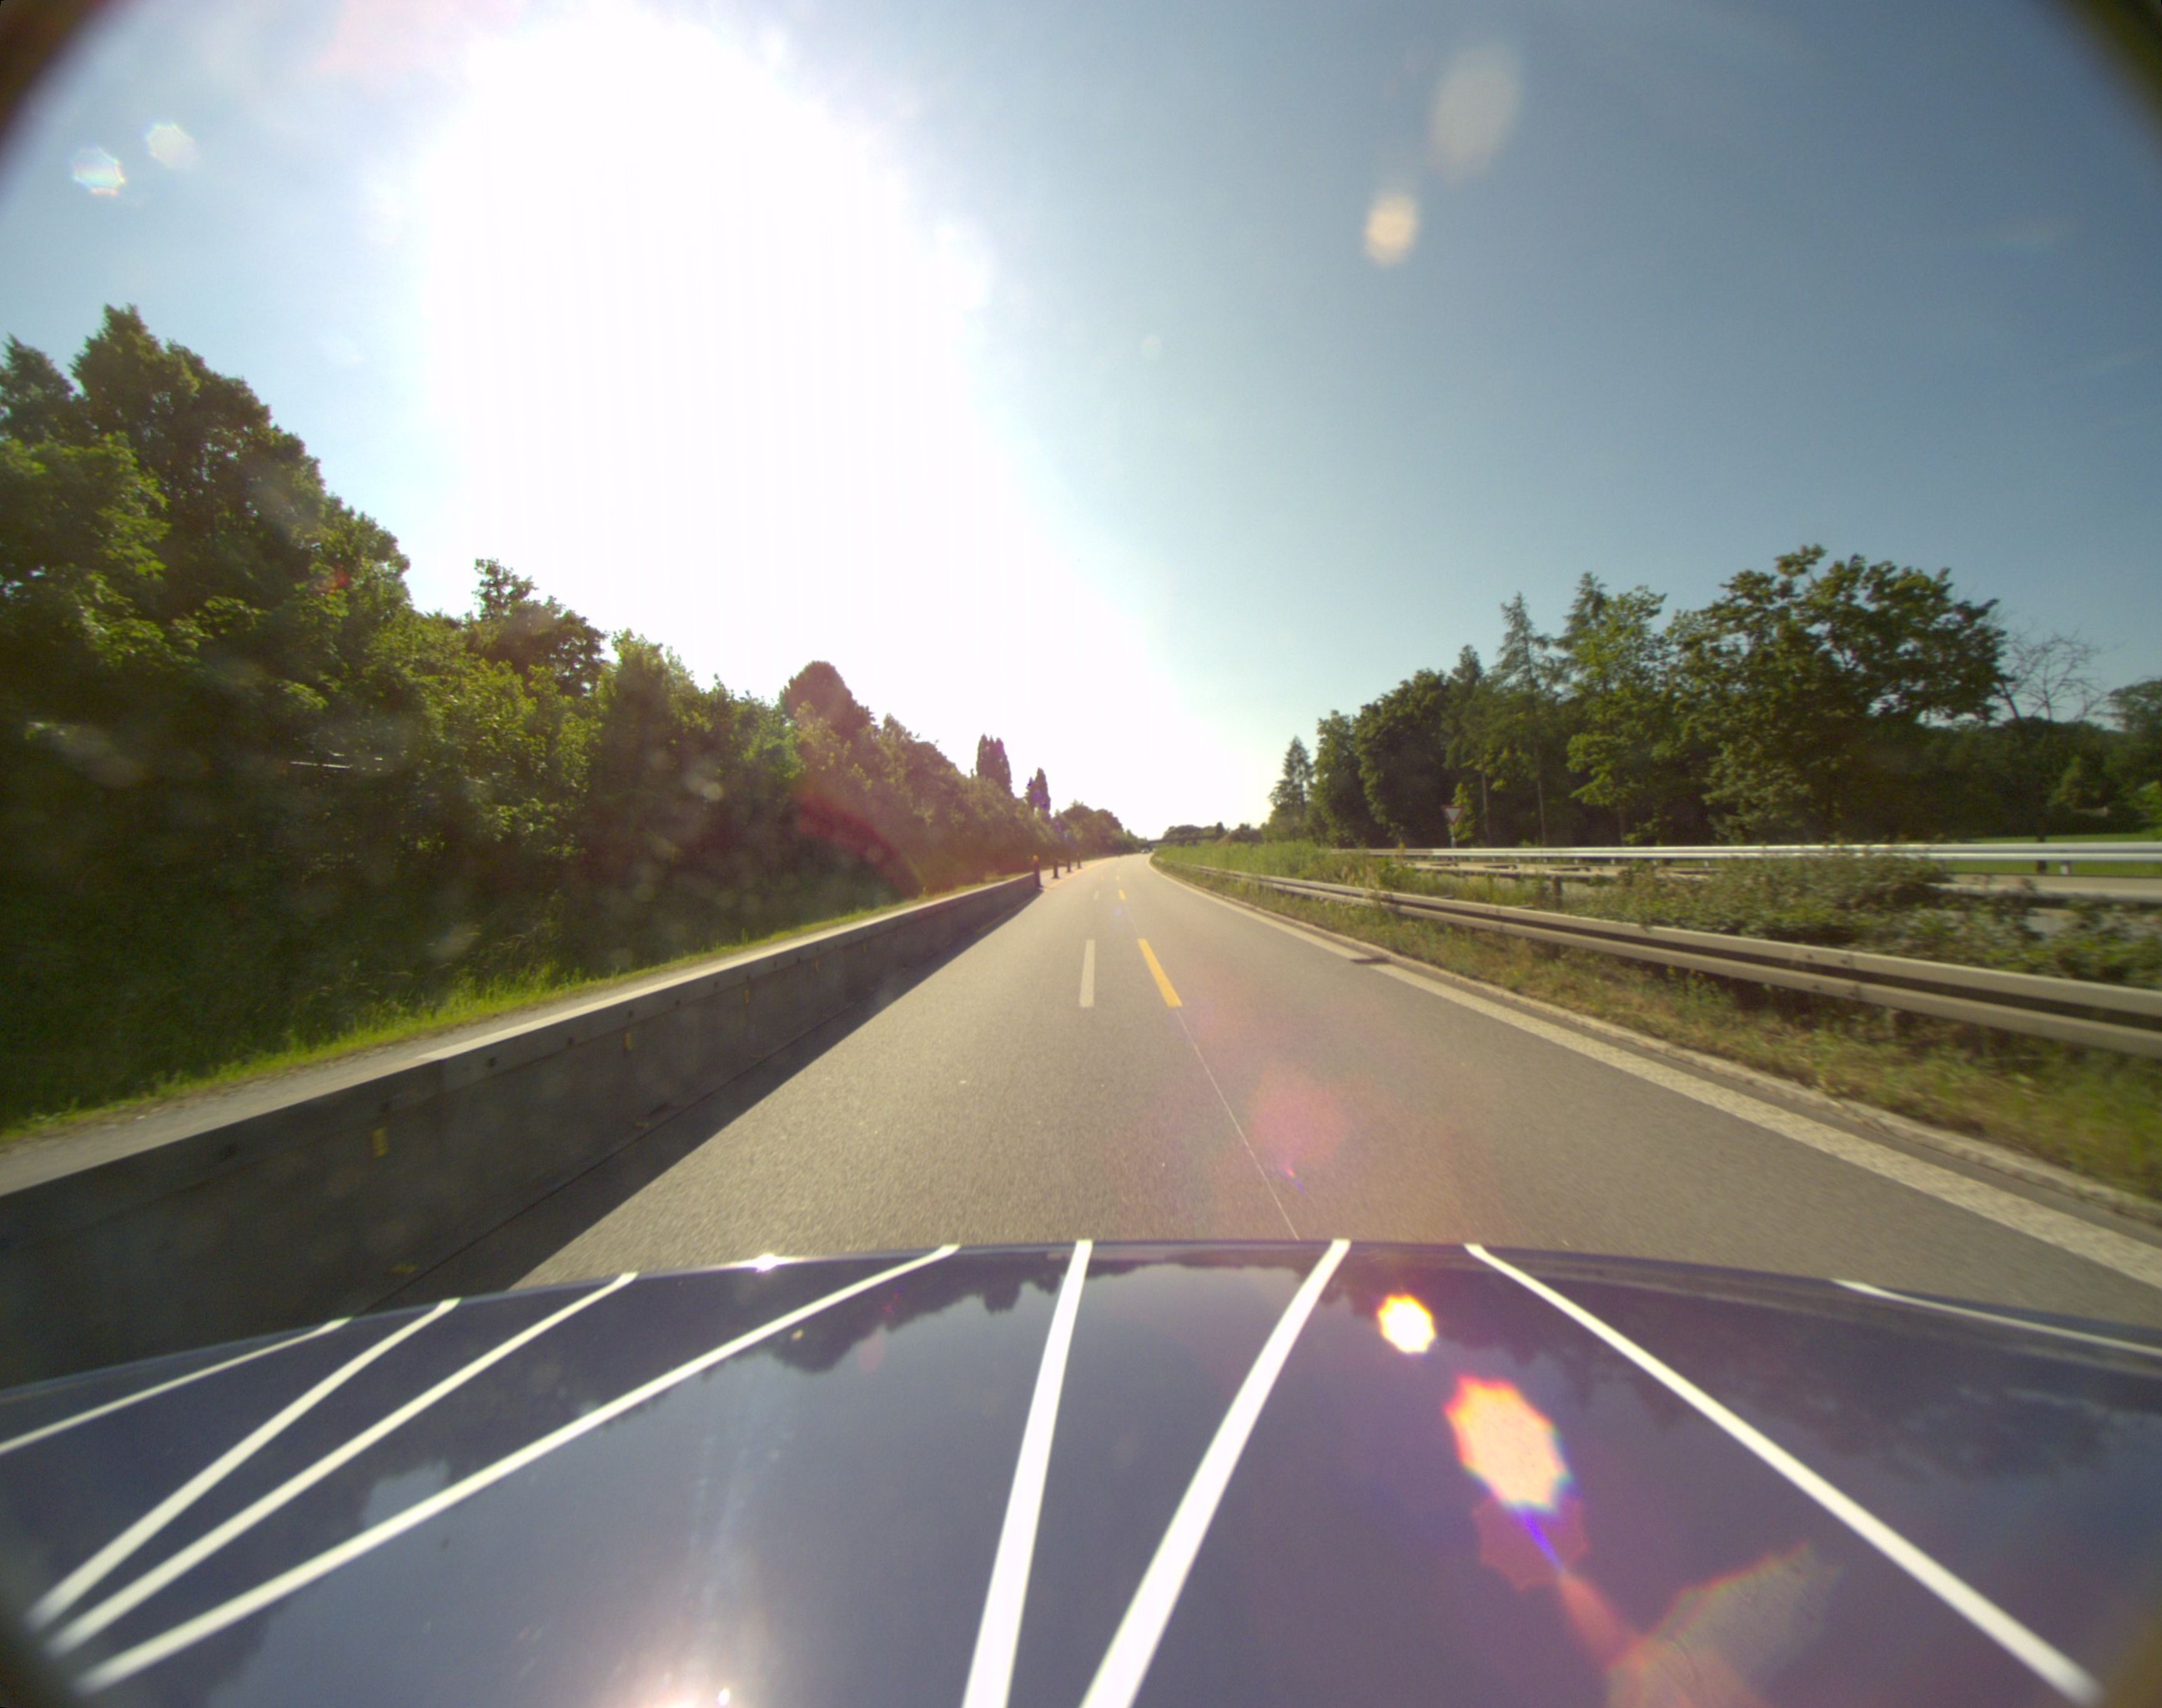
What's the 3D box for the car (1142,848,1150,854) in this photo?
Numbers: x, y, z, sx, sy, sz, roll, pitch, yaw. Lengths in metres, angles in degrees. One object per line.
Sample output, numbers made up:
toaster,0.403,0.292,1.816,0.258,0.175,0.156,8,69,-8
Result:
car,18.173,-0.795,211.857,1.719,1.499,4.225,-2,1,10
